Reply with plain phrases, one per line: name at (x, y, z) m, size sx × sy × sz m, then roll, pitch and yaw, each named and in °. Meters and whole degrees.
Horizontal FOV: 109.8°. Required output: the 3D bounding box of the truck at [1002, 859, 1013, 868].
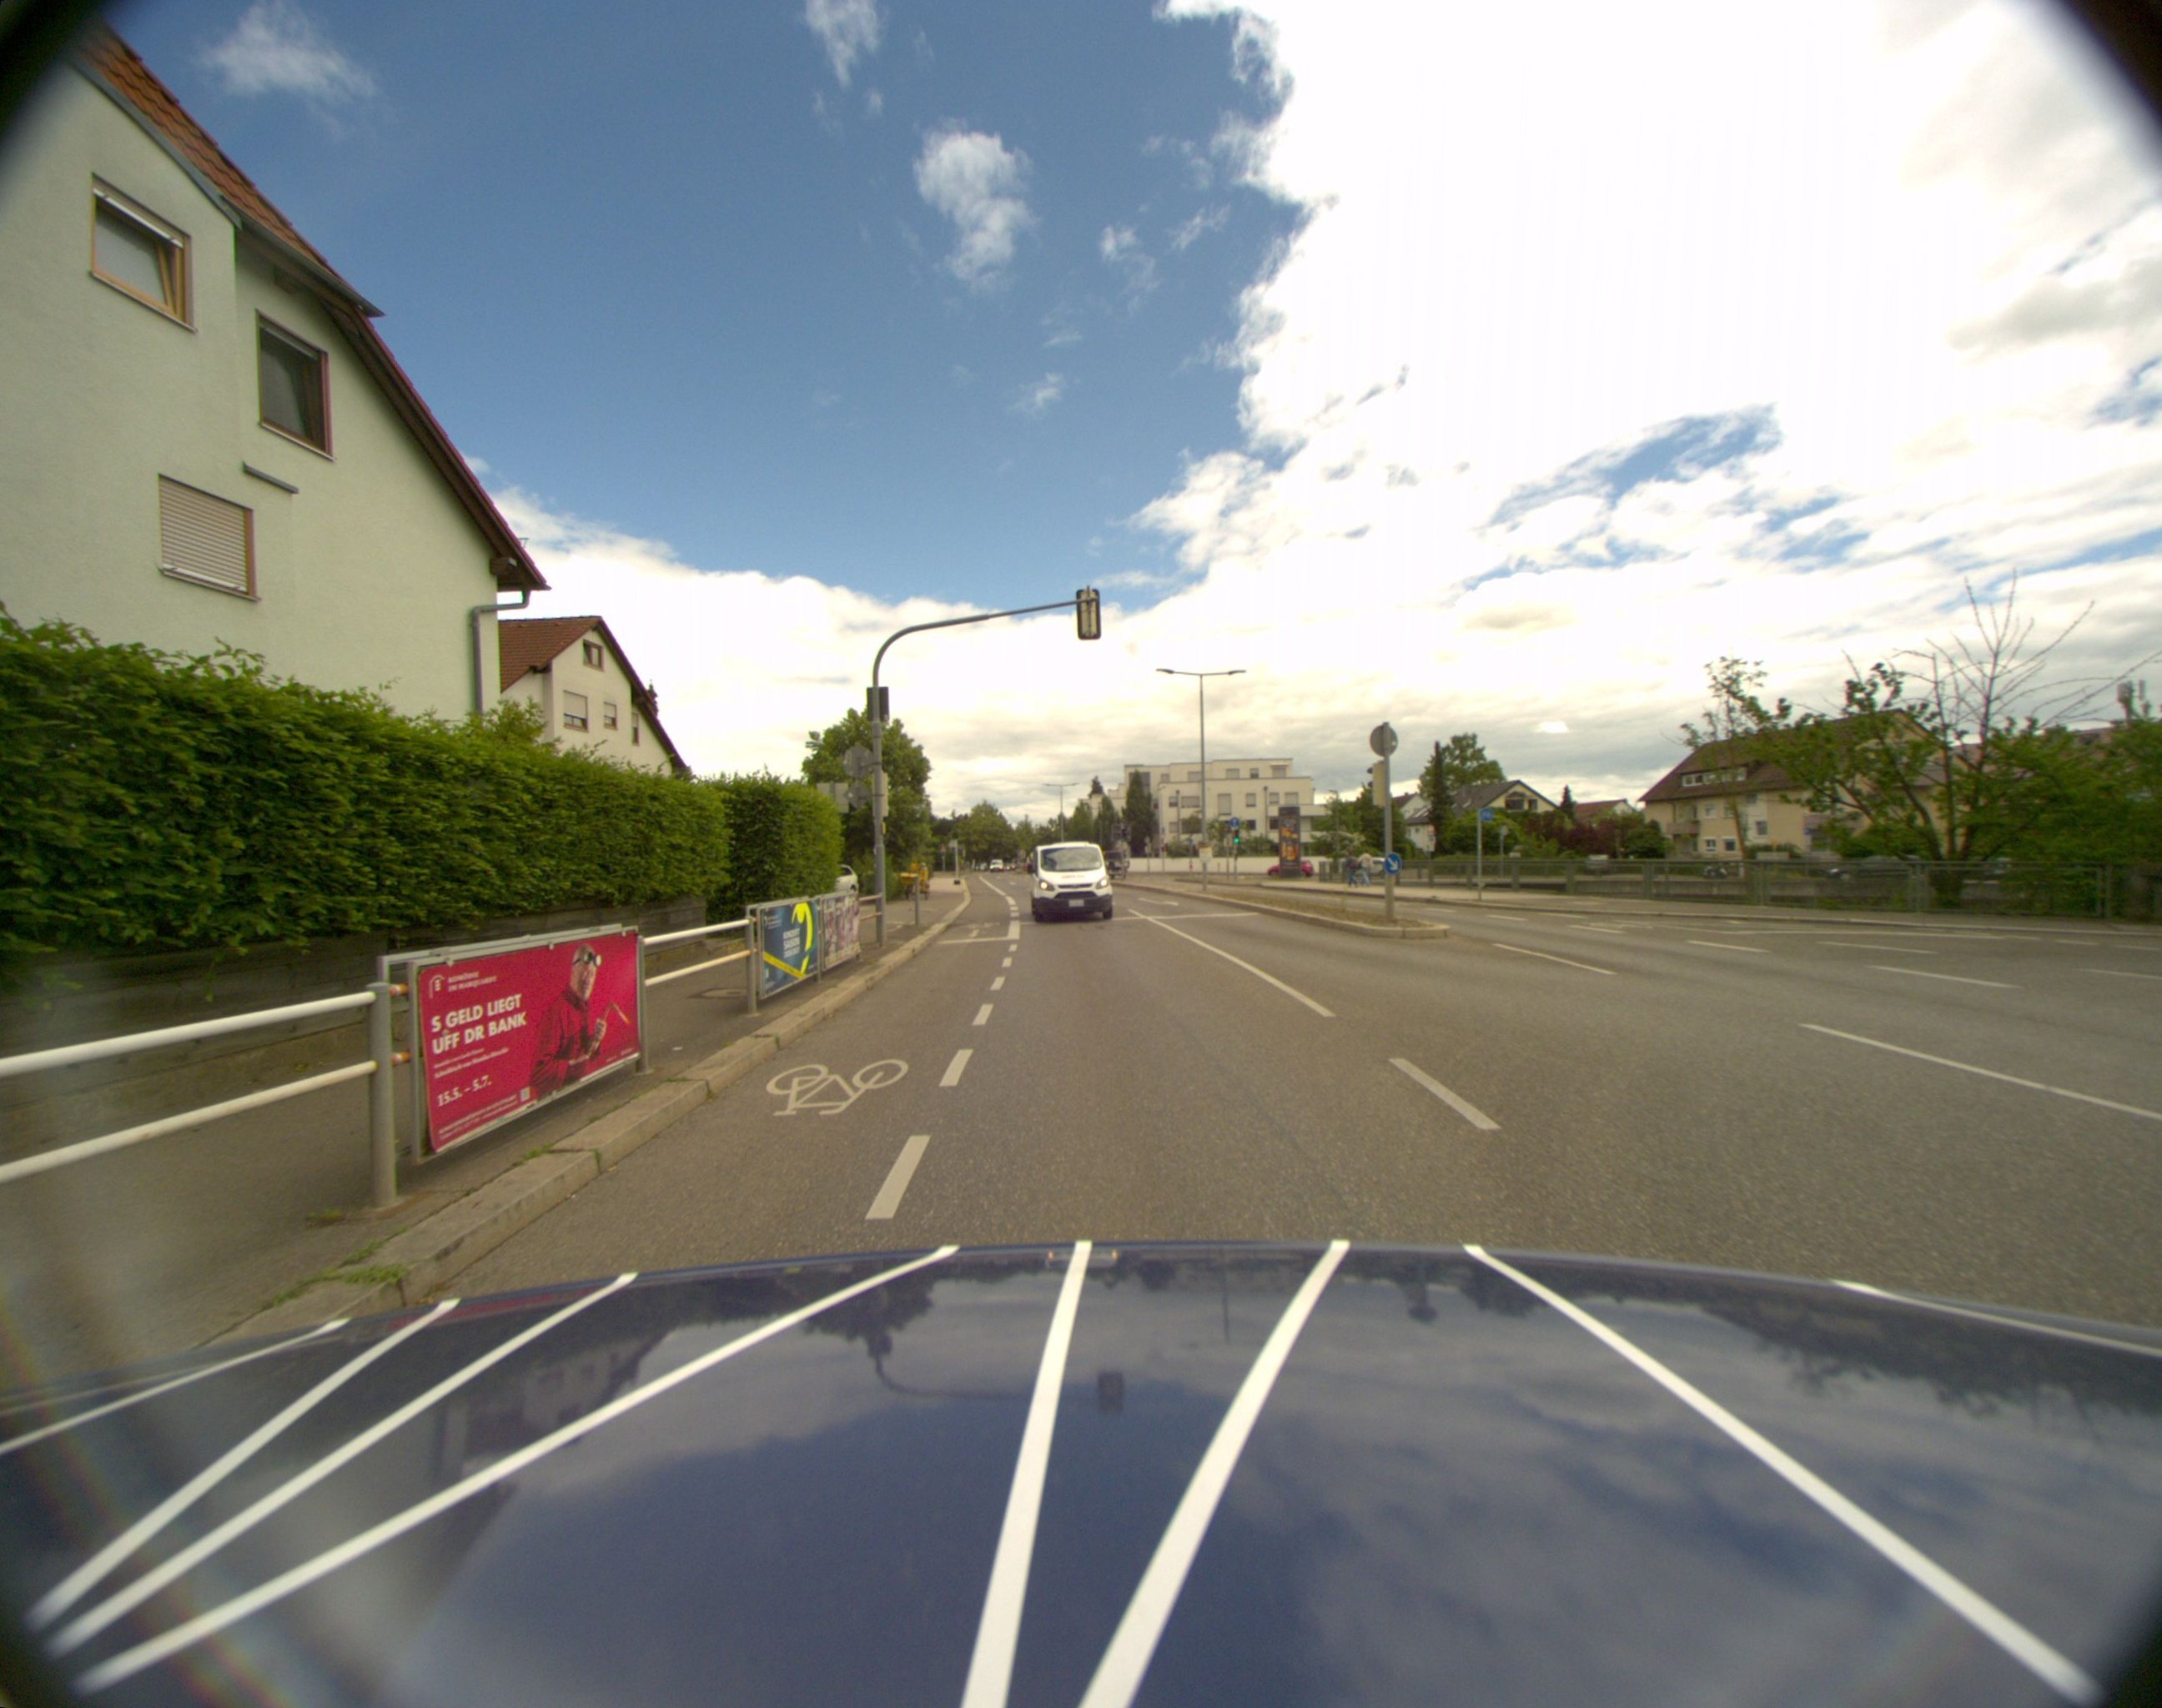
truck at (-13.021, 1.704, 134.764) m, size 1.619 × 1.649 × 4.000 m, roll 0°, pitch 0°, yaw -1°

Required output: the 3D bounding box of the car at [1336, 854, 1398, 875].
car at (22.116, 0.793, 58.817) m, size 4.117 × 1.526 × 1.651 m, roll 1°, pitch 0°, yaw 37°

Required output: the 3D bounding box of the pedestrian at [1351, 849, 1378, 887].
pedestrian at (12.334, 0.614, 33.063) m, size 0.658 × 1.624 × 0.832 m, roll -3°, pitch 1°, yaw -15°

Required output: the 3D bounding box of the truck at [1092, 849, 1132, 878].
truck at (2.458, 0.712, 62.899) m, size 2.132 × 2.251 × 6.800 m, roll -1°, pitch 0°, yaw -8°

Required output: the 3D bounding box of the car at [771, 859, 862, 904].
car at (-9.764, 1.004, 28.371) m, size 1.674 × 1.495 × 4.062 m, roll -1°, pitch -1°, yaw 5°

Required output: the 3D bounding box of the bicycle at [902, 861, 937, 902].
bicycle at (-6.461, 1.066, 30.541) m, size 0.894 × 1.501 × 2.782 m, roll 3°, pitch -1°, yaw -3°

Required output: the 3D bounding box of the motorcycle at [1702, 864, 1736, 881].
motorcycle at (41.300, 1.156, 49.222) m, size 0.702 × 0.993 × 2.123 m, roll 3°, pitch 1°, yaw 10°

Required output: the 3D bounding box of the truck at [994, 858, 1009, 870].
truck at (-11.423, 1.429, 109.019) m, size 1.615 × 1.780 × 4.001 m, roll 0°, pitch 0°, yaw 1°

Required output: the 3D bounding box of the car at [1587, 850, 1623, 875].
car at (39.675, 0.631, 57.532) m, size 1.782 × 1.571 × 4.007 m, roll -4°, pitch 0°, yaw 40°

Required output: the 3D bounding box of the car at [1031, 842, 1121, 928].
car at (-0.287, 0.753, 20.984) m, size 2.076 × 1.956 × 5.555 m, roll -2°, pitch 0°, yaw -4°

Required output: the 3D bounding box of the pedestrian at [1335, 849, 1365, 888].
pedestrian at (11.633, 0.625, 32.887) m, size 0.658 × 1.624 × 1.069 m, roll -3°, pitch 1°, yaw -15°

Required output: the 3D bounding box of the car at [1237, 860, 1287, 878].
car at (15.267, 1.249, 64.044) m, size 3.692 × 1.438 × 1.779 m, roll 1°, pitch 1°, yaw 35°

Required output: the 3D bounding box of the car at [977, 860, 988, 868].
car at (-16.941, 1.765, 130.946) m, size 1.562 × 1.343 × 3.539 m, roll 1°, pitch -1°, yaw -3°

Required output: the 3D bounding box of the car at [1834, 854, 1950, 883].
car at (46.942, 0.812, 44.127) m, size 4.364 × 1.598 × 2.004 m, roll -1°, pitch 0°, yaw 39°

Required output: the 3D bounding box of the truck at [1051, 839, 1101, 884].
truck at (-0.425, 0.477, 46.455) m, size 2.038 × 2.555 × 6.052 m, roll 0°, pitch 0°, yaw -10°
